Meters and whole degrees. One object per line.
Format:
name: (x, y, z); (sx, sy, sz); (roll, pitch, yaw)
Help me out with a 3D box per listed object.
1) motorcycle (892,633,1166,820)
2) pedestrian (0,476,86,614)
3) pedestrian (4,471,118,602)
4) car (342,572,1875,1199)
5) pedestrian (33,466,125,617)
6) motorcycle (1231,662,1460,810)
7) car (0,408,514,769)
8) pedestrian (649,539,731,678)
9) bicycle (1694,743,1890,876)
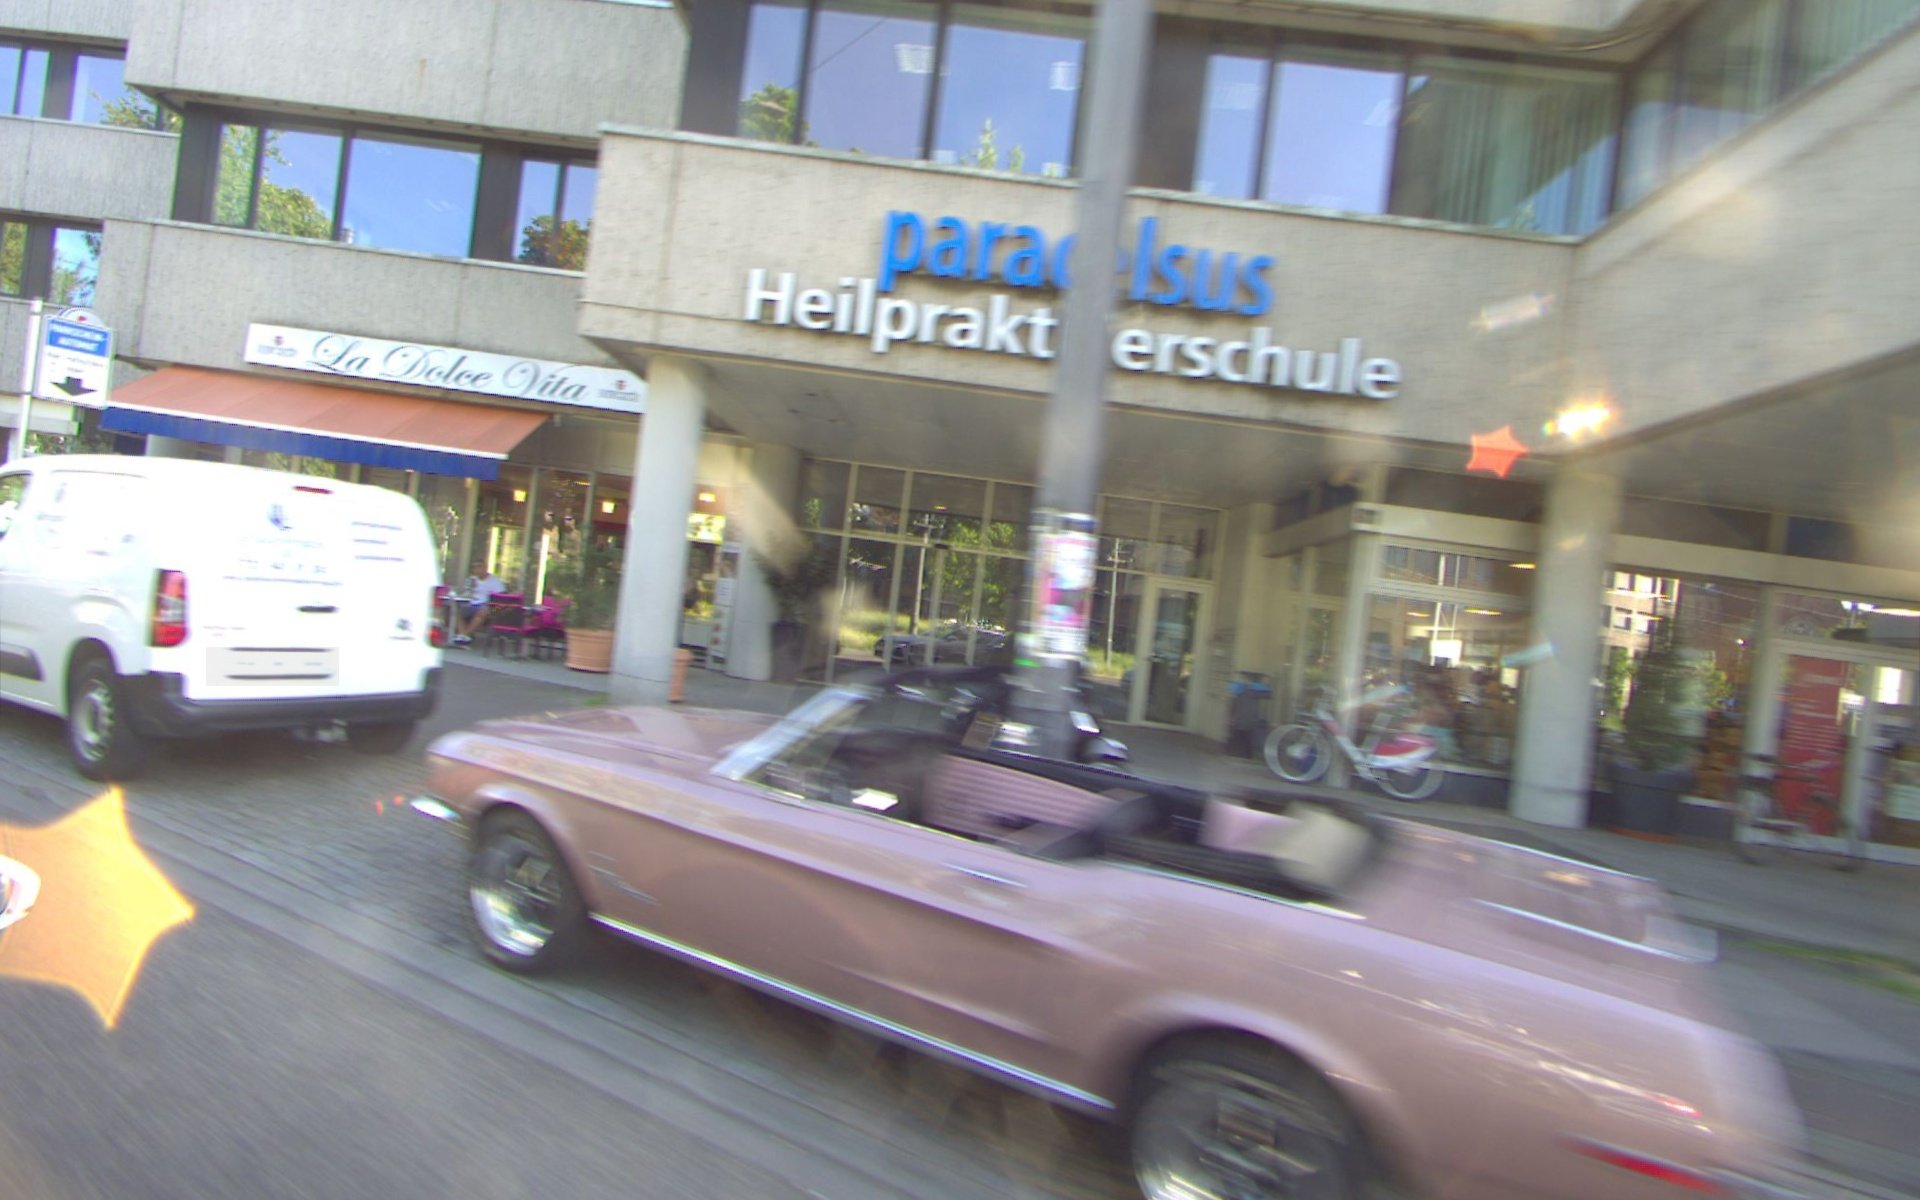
motorcycle: (0.500, 0.929, 7.979); (2.017, 1.169, 0.763); (4, 0, 38)
pedestrian: (-12.254, -0.733, 13.384); (0.686, 1.733, 0.585); (5, -3, 31)
pedestrian: (-12.720, -0.866, 14.256); (0.706, 1.732, 0.843); (6, 1, 0)
car: (-0.009, 0.878, 3.725); (4.651, 1.470, 1.779); (5, -4, 30)
pedestrian: (-11.490, -0.749, 13.122); (0.600, 1.880, 0.671); (5, 1, 31)
motorcycle: (3.957, 1.385, 10.479); (2.062, 1.181, 0.513); (7, -2, 16)
car: (-5.460, -0.114, 6.942); (4.235, 1.833, 2.000); (5, -3, 28)
pedestrian: (-3.768, 0.133, 14.096); (0.692, 1.836, 0.718); (6, -2, 5)
bicycle: (7.651, 1.931, 9.234); (1.837, 0.992, 0.677); (9, -2, -28)
